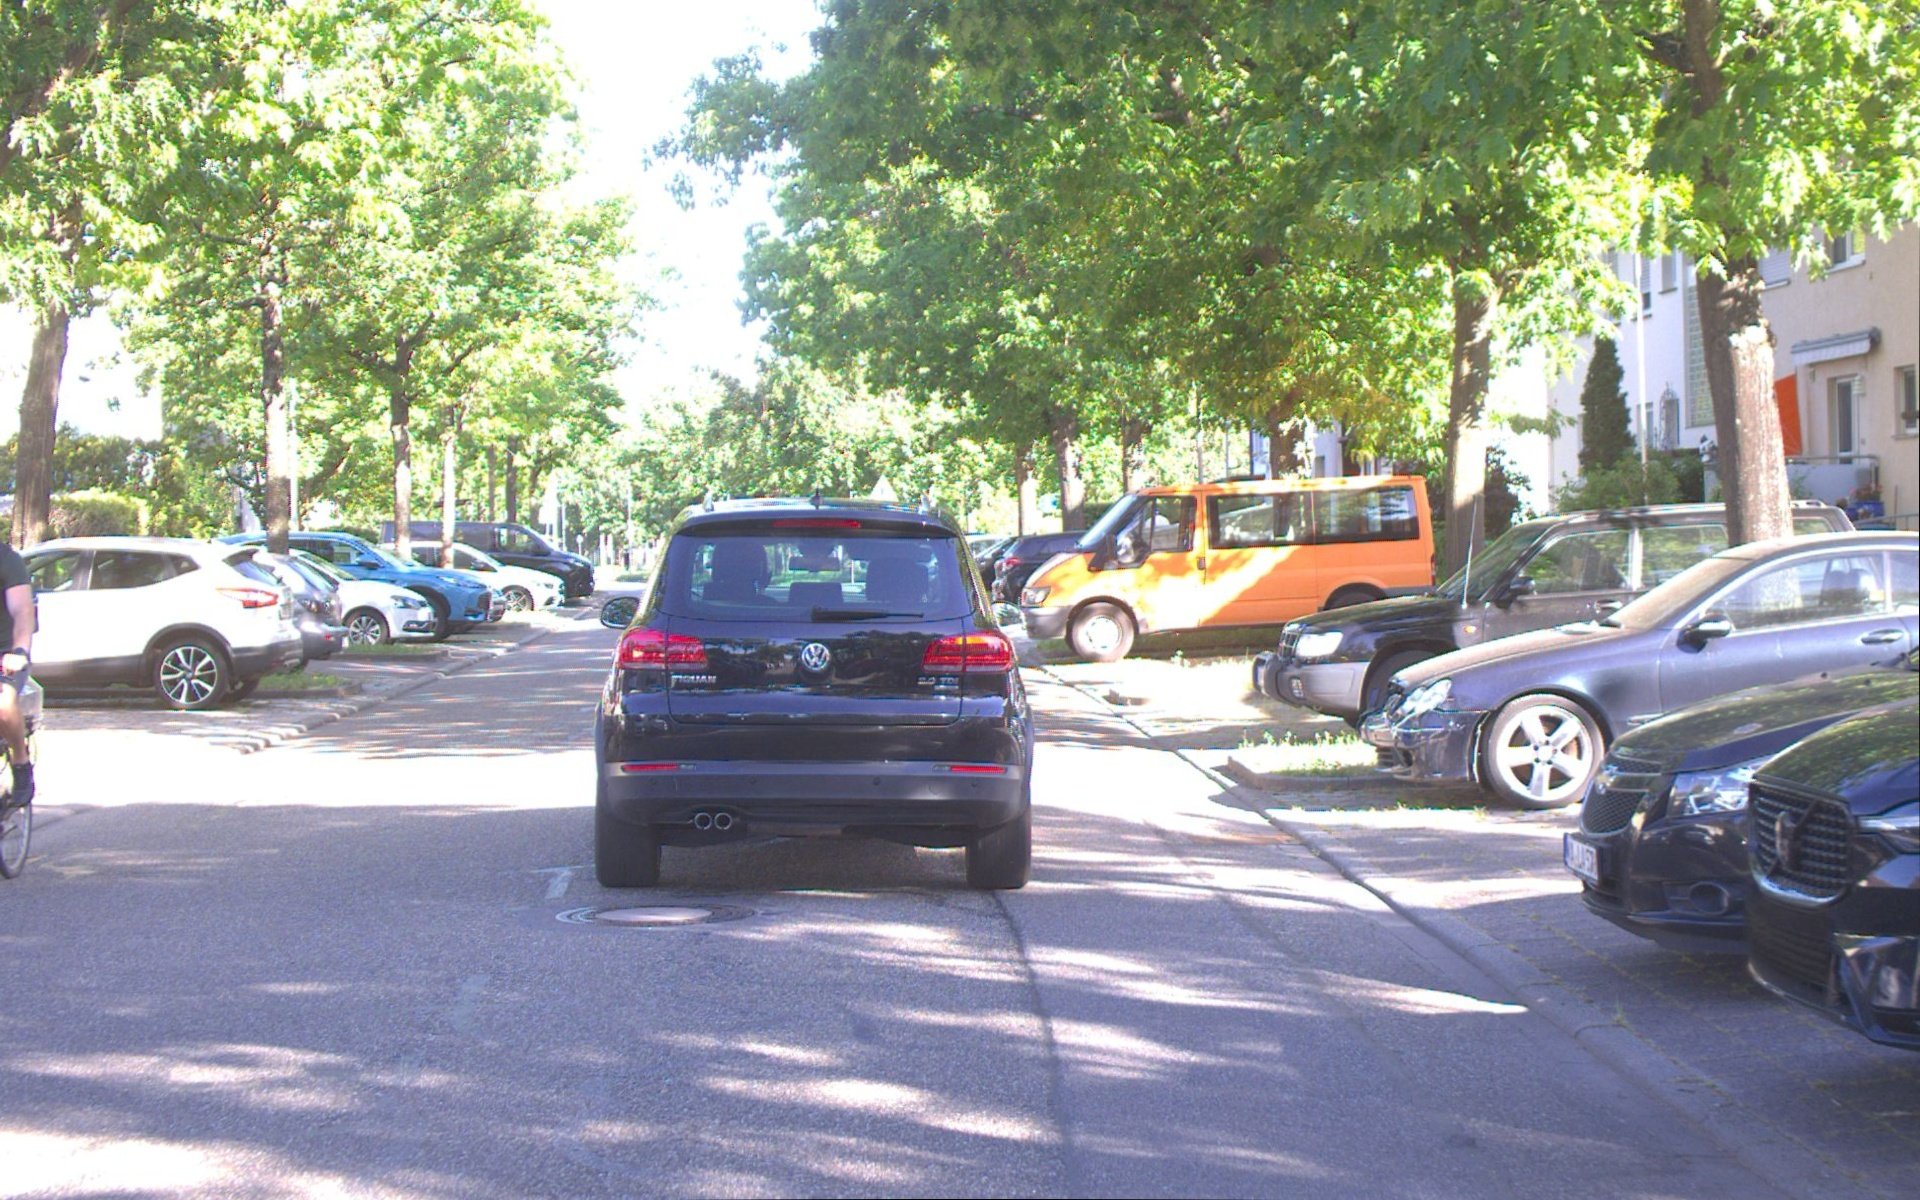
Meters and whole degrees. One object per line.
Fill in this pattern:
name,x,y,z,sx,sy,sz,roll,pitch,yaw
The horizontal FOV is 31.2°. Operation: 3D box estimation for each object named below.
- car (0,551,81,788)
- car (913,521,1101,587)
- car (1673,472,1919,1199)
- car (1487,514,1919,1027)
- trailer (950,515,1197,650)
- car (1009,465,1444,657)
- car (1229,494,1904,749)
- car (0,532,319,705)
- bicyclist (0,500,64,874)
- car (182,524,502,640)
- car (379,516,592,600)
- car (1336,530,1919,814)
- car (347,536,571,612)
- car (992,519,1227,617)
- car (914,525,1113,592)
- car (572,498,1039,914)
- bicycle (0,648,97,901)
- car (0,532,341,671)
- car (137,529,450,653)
car,-8.010,0.467,22.228,4.210,1.466,1.691,-1,1,-2
car,1.087,-1.086,80.746,4.276,1.409,1.797,-2,1,-3
car,4.322,0.410,8.678,4.573,1.641,1.838,-3,1,-2
car,4.144,0.443,11.676,4.319,1.524,1.841,-3,1,-2
trailer,1.464,-0.246,44.782,2.945,1.658,1.615,-1,1,-8
car,3.060,-0.465,40.209,4.818,2.076,2.086,-1,1,-2
car,4.204,0.127,24.293,4.337,1.555,1.868,-2,1,-3
car,-8.330,0.144,32.563,4.187,1.561,1.792,1,1,0
bicyclist,-4.585,0.395,15.779,0.596,1.668,0.975,-4,1,-1
car,-9.336,-0.276,52.214,4.523,1.625,1.938,-1,0,-2
car,-10.910,-0.992,79.329,4.778,1.910,2.019,0,1,-5
car,4.405,0.336,18.964,4.427,1.327,1.691,-3,1,1
car,-9.982,-0.531,68.726,4.275,1.473,1.769,0,1,-3
car,2.553,-0.559,59.186,3.882,1.510,1.661,-1,4,-2
car,1.190,-0.937,78.020,4.345,1.358,1.874,-2,1,-3
car,-0.632,0.390,15.626,1.838,1.631,3.958,1,1,-1
bicycle,-4.556,0.800,15.867,0.596,1.055,1.986,-4,1,-1
car,-8.986,-0.001,37.938,4.033,1.418,1.810,1,1,-4
car,-9.208,-0.123,47.721,3.986,1.590,1.857,-1,0,-2
